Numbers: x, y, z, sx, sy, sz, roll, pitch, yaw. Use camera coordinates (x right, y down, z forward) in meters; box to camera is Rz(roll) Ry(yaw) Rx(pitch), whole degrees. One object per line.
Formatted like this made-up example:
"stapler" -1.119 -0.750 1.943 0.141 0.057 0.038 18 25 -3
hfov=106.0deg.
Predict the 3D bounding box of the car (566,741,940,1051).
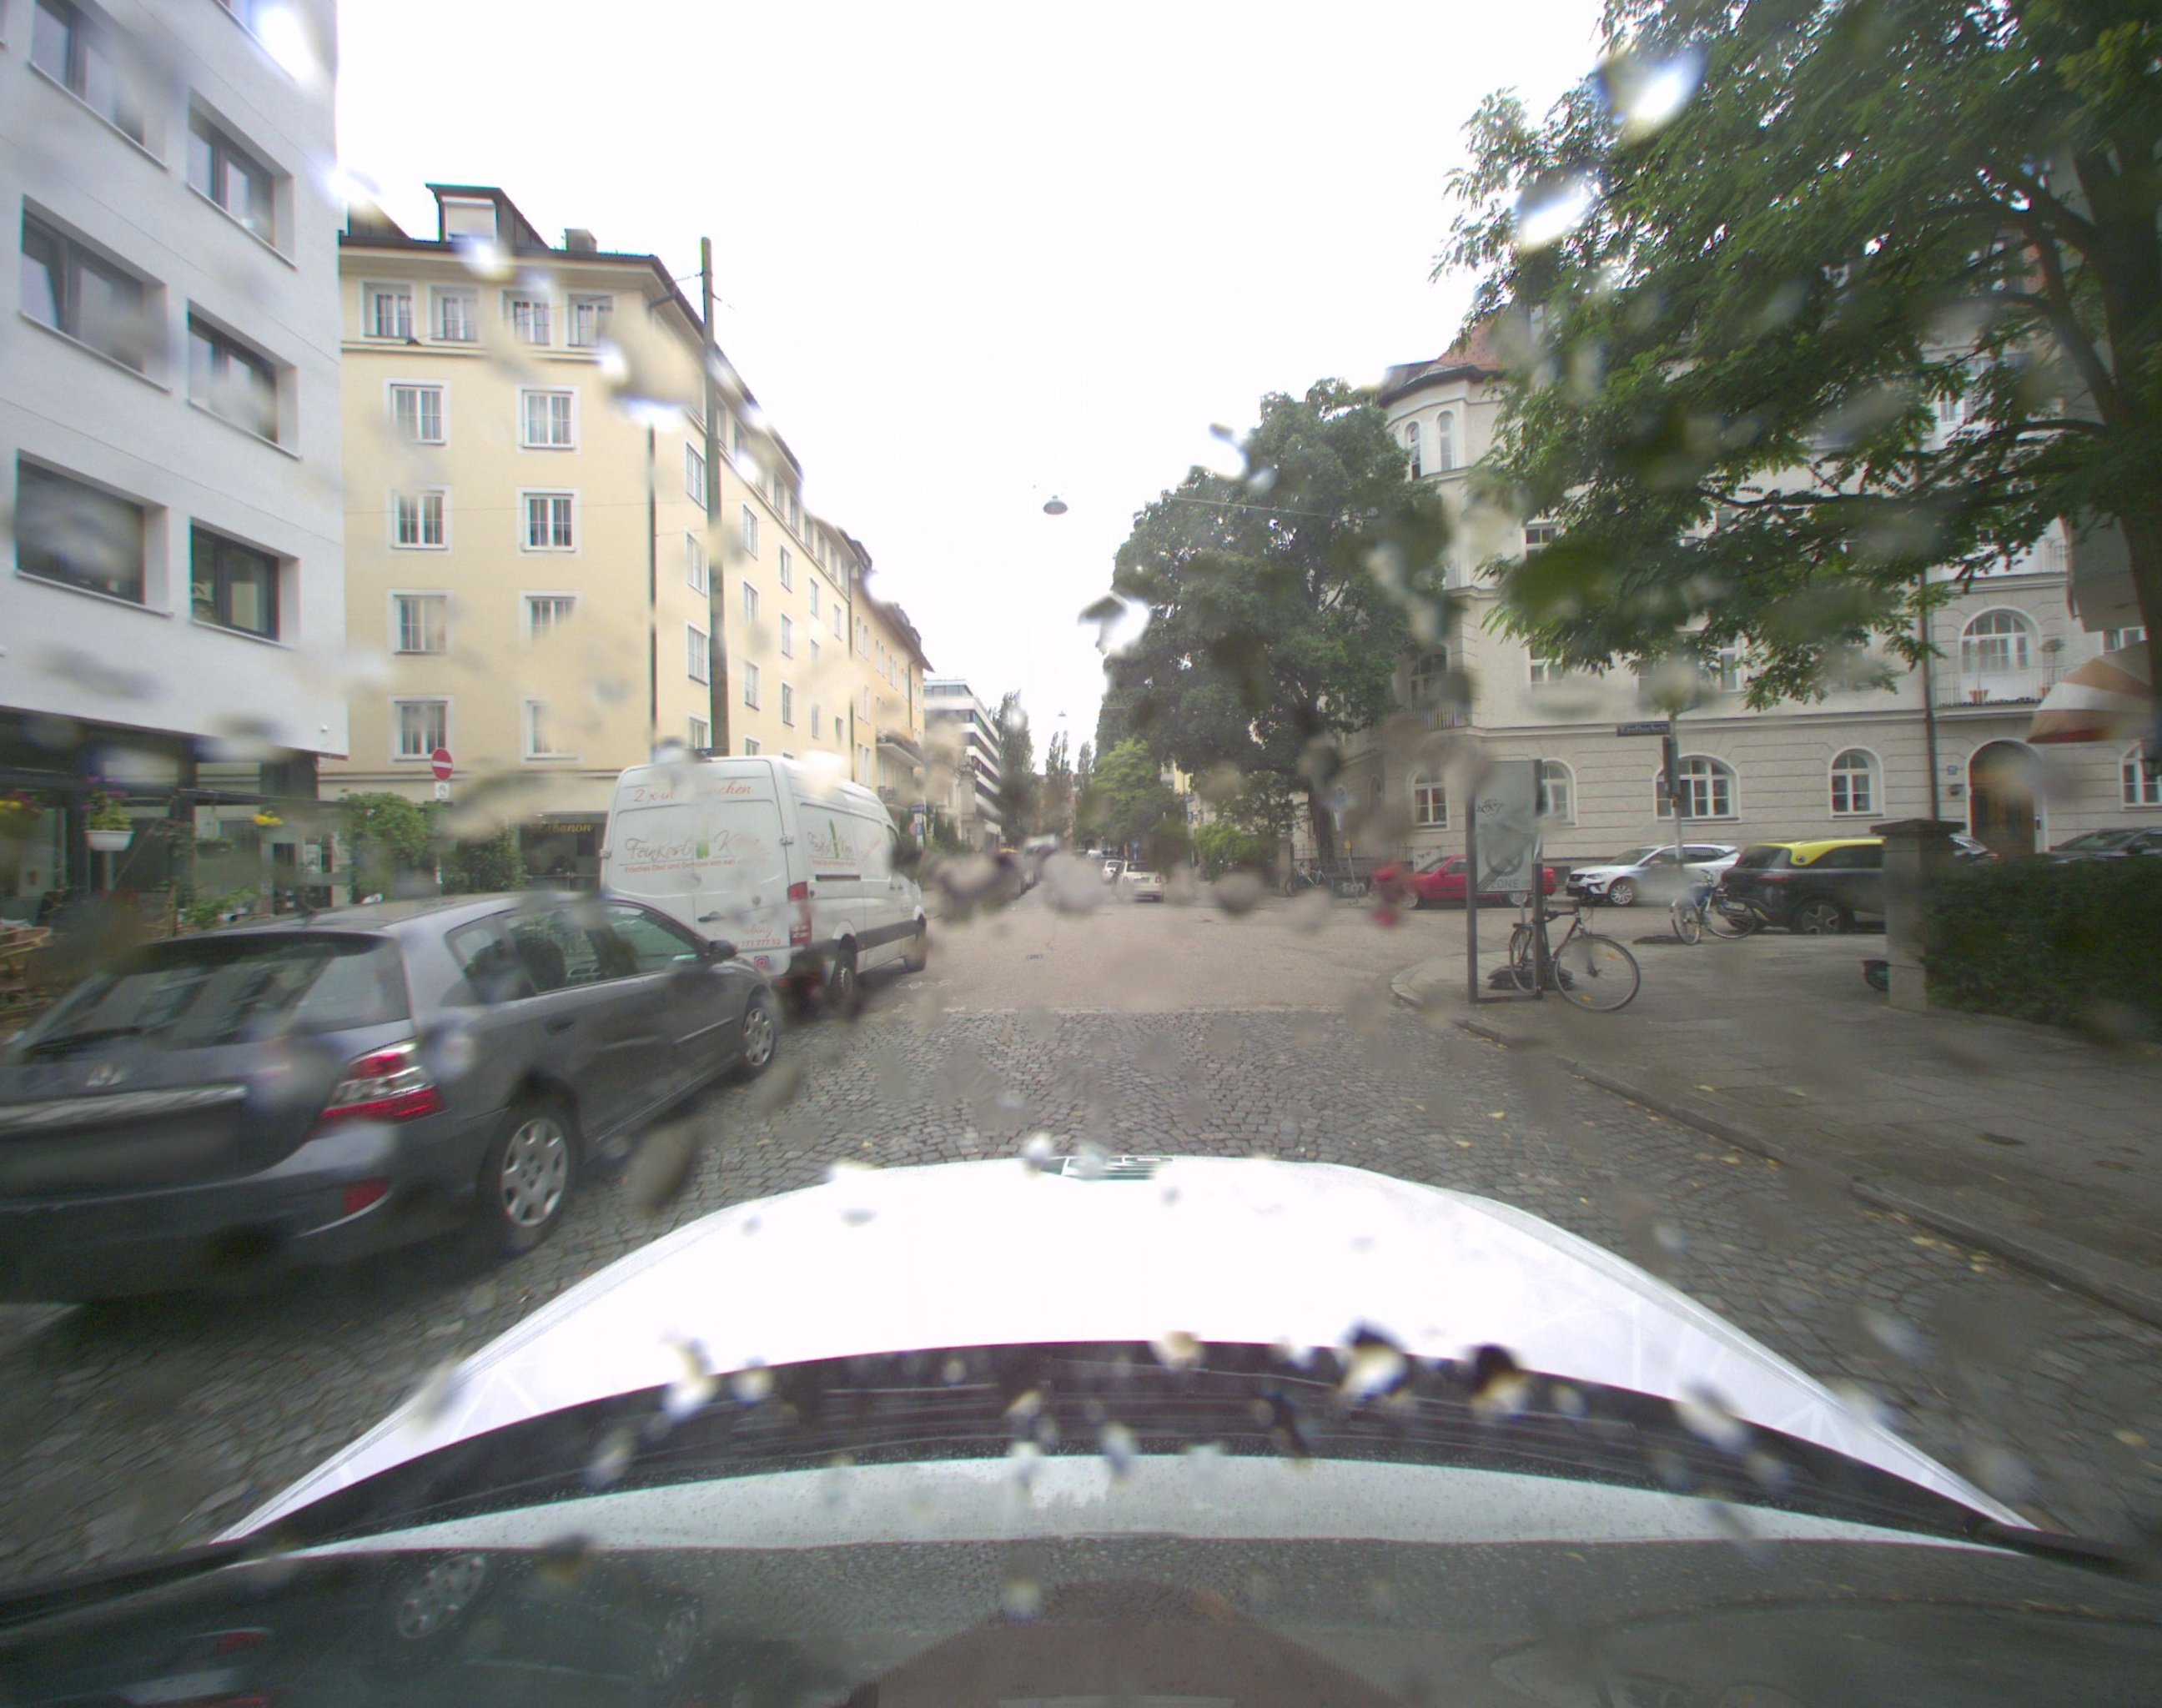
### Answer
"car" -3.357 0.379 9.976 1.970 2.574 5.795 -4 0 1

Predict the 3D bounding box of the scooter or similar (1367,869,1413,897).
"scooter or similar" 9.766 0.904 25.739 1.230 0.825 0.698 -1 -1 8

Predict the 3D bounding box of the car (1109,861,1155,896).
"car" 2.248 1.066 36.941 1.643 1.422 4.629 2 -1 -2

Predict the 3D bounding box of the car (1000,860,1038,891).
"car" -3.517 1.181 46.667 1.768 1.647 4.390 -1 0 0

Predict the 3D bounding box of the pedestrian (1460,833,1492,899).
"pedestrian" 11.540 0.356 23.790 0.493 1.876 0.741 -1 -1 -5

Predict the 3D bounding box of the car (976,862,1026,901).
"car" -3.409 1.126 35.433 1.768 1.536 4.538 -1 0 -1

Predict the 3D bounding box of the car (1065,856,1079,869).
"car" -1.329 1.235 120.284 1.990 1.936 4.000 -2 -1 1

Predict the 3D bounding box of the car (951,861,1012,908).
"car" -3.627 1.071 30.499 1.847 1.586 4.744 -1 0 -2

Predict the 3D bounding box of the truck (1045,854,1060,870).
"truck" -4.279 1.232 122.688 1.988 2.346 4.066 -1 -1 -1

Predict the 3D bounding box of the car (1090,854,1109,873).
"car" 2.001 1.050 89.715 1.795 1.949 4.857 1 0 -1

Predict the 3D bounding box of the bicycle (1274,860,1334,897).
"bicycle" 7.327 0.811 26.782 1.827 1.124 0.564 -2 0 9

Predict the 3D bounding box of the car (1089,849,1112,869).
"car" 1.780 0.488 76.535 1.957 1.759 4.951 -1 0 -1

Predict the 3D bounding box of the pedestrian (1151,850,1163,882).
"pedestrian" 4.423 0.679 47.492 0.572 1.850 0.683 -2 -1 7

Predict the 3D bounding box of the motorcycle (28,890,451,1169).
"motorcycle" -5.229 0.968 5.320 0.672 1.369 2.057 -1 -1 -3

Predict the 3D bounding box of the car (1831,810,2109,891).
"car" 21.207 -0.064 19.618 4.301 1.711 1.757 -2 0 10

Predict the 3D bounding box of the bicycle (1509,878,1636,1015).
"bicycle" 4.718 0.834 7.924 0.386 1.146 1.592 -2 -1 6

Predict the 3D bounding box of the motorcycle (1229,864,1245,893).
"motorcycle" 5.972 0.932 31.147 0.361 1.090 1.404 -1 -1 2

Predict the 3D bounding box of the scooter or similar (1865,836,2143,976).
"scooter or similar" 8.265 0.479 7.366 1.588 1.172 0.407 -4 -2 22

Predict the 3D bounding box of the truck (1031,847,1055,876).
"truck" -4.312 0.806 93.781 2.502 3.031 6.380 -4 0 -2

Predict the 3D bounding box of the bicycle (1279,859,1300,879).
"bicycle" 9.172 0.655 35.866 0.489 0.812 2.275 -1 0 4

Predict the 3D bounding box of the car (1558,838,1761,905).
"car" 14.337 0.427 20.334 3.868 1.521 1.567 -2 0 4

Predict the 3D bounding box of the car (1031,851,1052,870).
"car" -3.713 0.658 77.274 1.769 1.717 4.388 -1 0 -2

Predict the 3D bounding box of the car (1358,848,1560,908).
"car" 9.715 0.609 21.241 4.444 1.358 1.764 -2 0 6

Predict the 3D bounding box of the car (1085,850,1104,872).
"car" 1.580 0.725 95.230 1.890 2.426 5.608 2 0 -1

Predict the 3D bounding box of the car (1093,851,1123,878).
"car" 1.837 0.707 56.145 1.869 1.673 5.490 -1 0 0

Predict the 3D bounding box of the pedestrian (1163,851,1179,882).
"pedestrian" 5.301 0.753 47.808 0.634 1.808 0.652 -1 -1 -45

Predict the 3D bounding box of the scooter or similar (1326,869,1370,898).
"scooter or similar" 8.459 0.924 25.807 1.176 0.848 0.926 -1 -1 8

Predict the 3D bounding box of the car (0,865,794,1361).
"car" -3.096 0.847 4.570 1.657 1.482 3.978 -2 0 -3

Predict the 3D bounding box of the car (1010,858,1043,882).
"car" -3.515 1.022 53.211 1.768 1.429 4.390 -1 0 0

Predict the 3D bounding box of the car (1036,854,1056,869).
"car" -3.529 0.784 82.448 1.935 1.459 4.055 -1 0 -2

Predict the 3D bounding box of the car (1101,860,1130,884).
"car" 2.130 1.097 51.012 1.625 1.469 3.657 0 0 -1

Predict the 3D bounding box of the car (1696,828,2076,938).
"car" 12.896 0.465 13.352 4.049 1.597 1.911 -2 -1 10

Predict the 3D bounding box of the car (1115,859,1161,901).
"car" 2.086 0.928 30.474 1.497 1.471 3.795 -1 0 0

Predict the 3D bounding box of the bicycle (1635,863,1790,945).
"bicycle" 9.231 0.734 11.951 1.595 1.069 0.739 -4 -4 2
